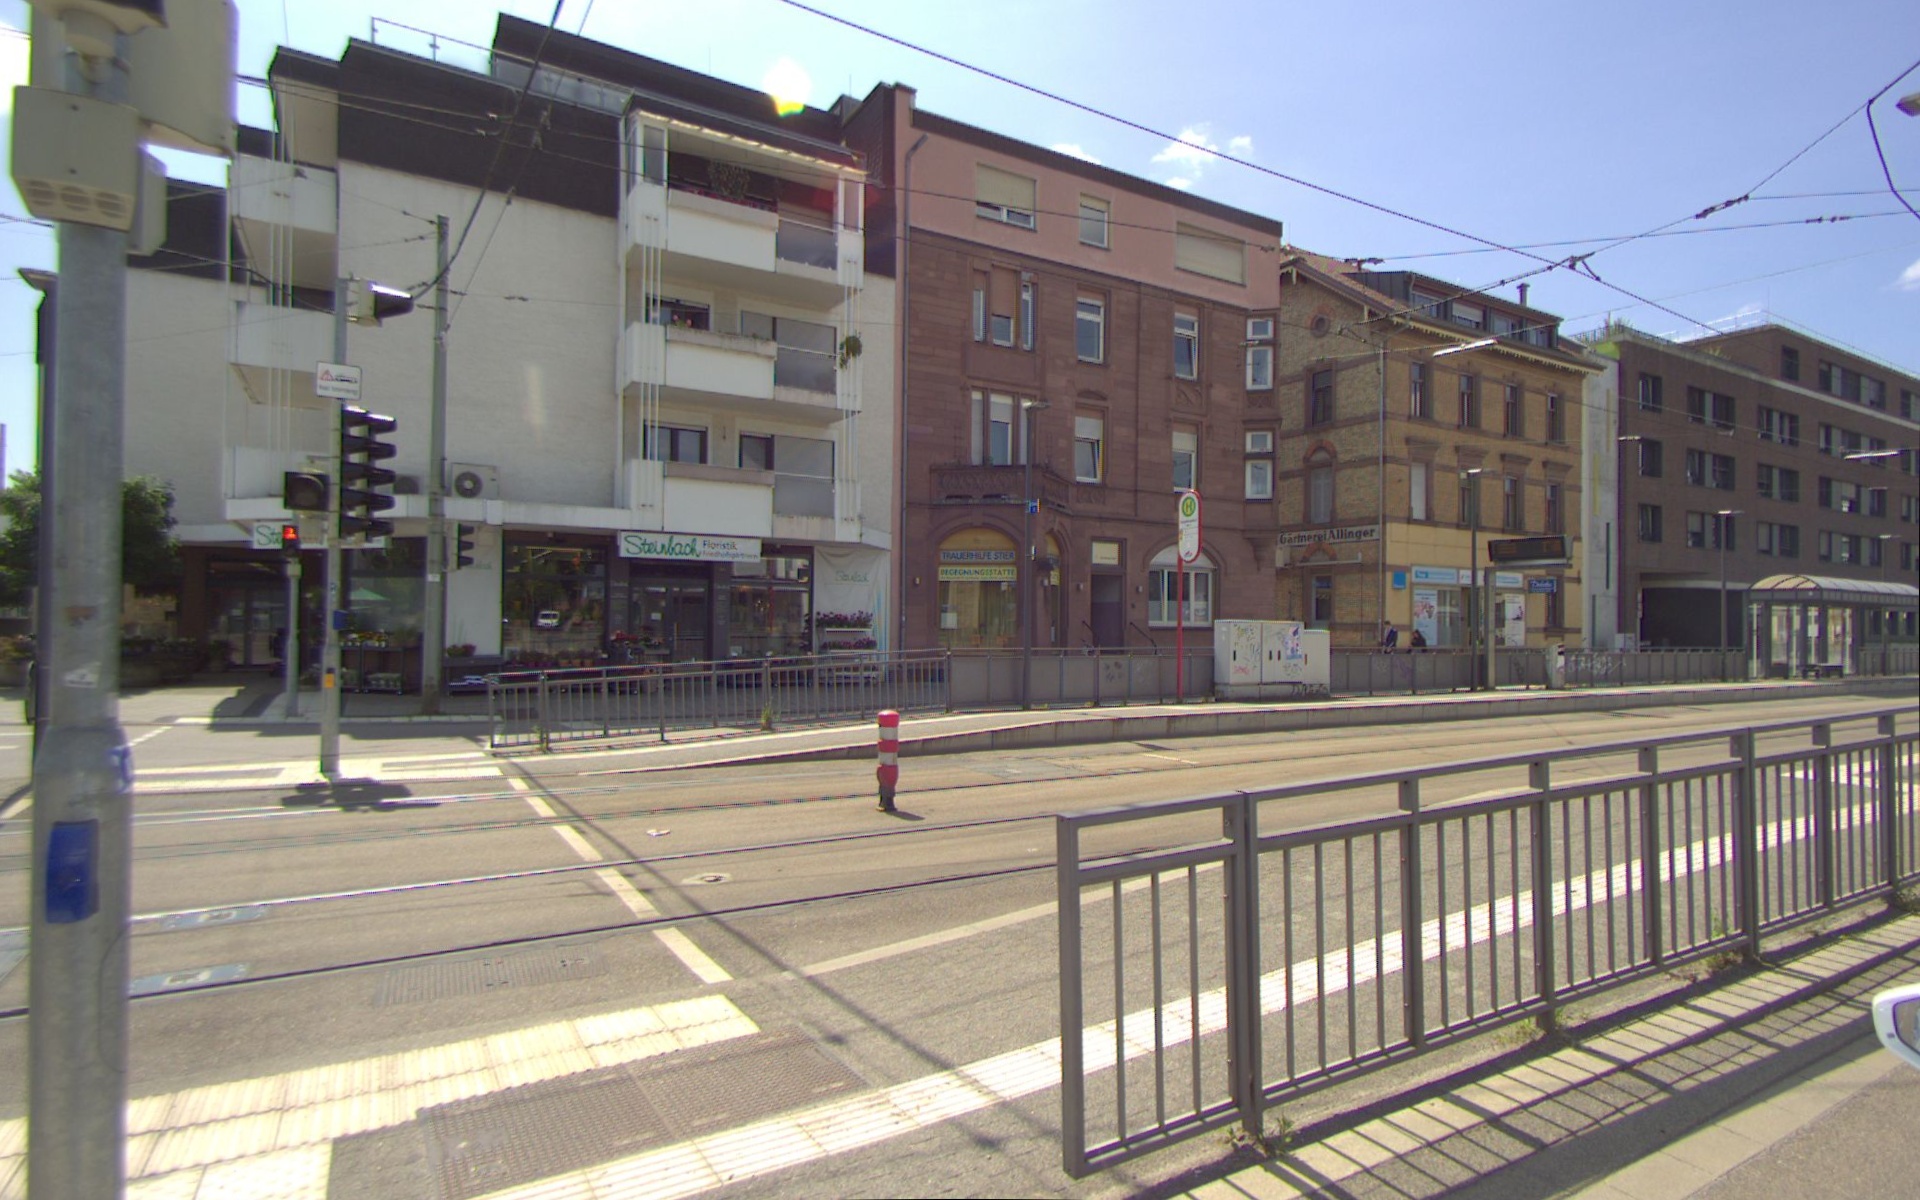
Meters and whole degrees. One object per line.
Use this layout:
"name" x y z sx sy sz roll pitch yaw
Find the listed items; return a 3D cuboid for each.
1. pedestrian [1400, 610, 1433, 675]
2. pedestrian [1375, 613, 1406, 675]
"pedestrian" 14.657 1.366 32.261 0.677 2.040 0.673 2 -1 -33
"pedestrian" 14.206 1.446 33.149 0.802 2.040 0.614 1 -1 -33
